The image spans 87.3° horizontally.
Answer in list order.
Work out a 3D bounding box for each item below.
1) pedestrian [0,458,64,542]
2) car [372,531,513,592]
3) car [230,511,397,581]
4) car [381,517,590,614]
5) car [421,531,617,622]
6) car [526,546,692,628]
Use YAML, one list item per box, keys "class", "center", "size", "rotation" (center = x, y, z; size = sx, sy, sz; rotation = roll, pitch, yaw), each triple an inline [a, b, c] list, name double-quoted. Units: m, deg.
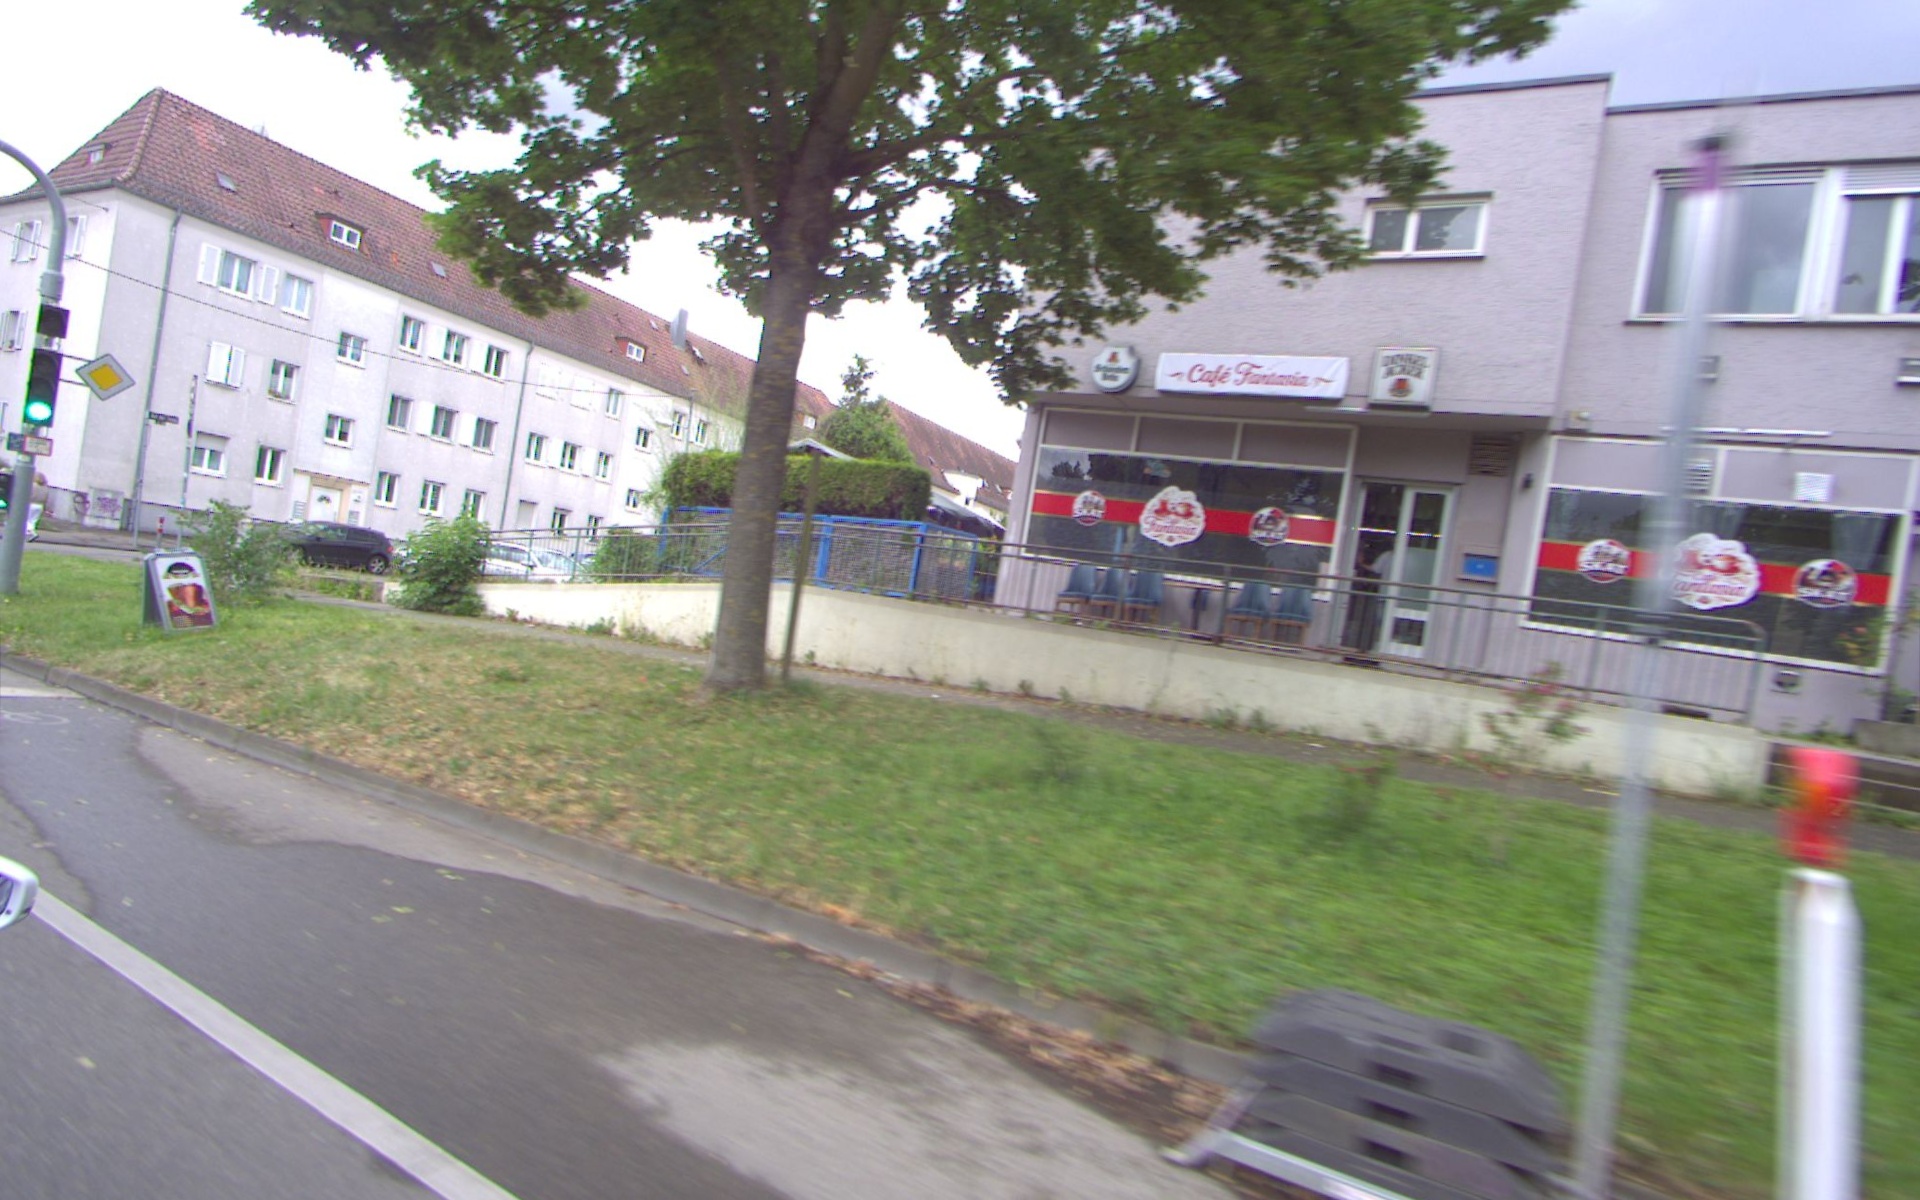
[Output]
- class: "pedestrian"
  center: [-22.581, -2.424, 24.424]
  size: [0.937, 1.879, 0.750]
  rotation: [7, 2, 16]
- class: "car"
  center: [-18.820, -1.365, 36.752]
  size: [1.968, 1.554, 3.994]
  rotation: [7, -2, 33]
- class: "car"
  center: [-20.852, -1.708, 32.597]
  size: [1.968, 1.554, 3.994]
  rotation: [7, -2, 33]
- class: "car"
  center: [-10.120, -0.738, 21.431]
  size: [3.929, 1.490, 1.875]
  rotation: [7, -2, 27]
- class: "car"
  center: [-10.648, -0.576, 24.256]
  size: [4.223, 1.554, 1.999]
  rotation: [7, -1, 28]
- class: "car"
  center: [-9.273, -0.349, 26.544]
  size: [3.906, 1.554, 1.825]
  rotation: [7, -1, 28]
